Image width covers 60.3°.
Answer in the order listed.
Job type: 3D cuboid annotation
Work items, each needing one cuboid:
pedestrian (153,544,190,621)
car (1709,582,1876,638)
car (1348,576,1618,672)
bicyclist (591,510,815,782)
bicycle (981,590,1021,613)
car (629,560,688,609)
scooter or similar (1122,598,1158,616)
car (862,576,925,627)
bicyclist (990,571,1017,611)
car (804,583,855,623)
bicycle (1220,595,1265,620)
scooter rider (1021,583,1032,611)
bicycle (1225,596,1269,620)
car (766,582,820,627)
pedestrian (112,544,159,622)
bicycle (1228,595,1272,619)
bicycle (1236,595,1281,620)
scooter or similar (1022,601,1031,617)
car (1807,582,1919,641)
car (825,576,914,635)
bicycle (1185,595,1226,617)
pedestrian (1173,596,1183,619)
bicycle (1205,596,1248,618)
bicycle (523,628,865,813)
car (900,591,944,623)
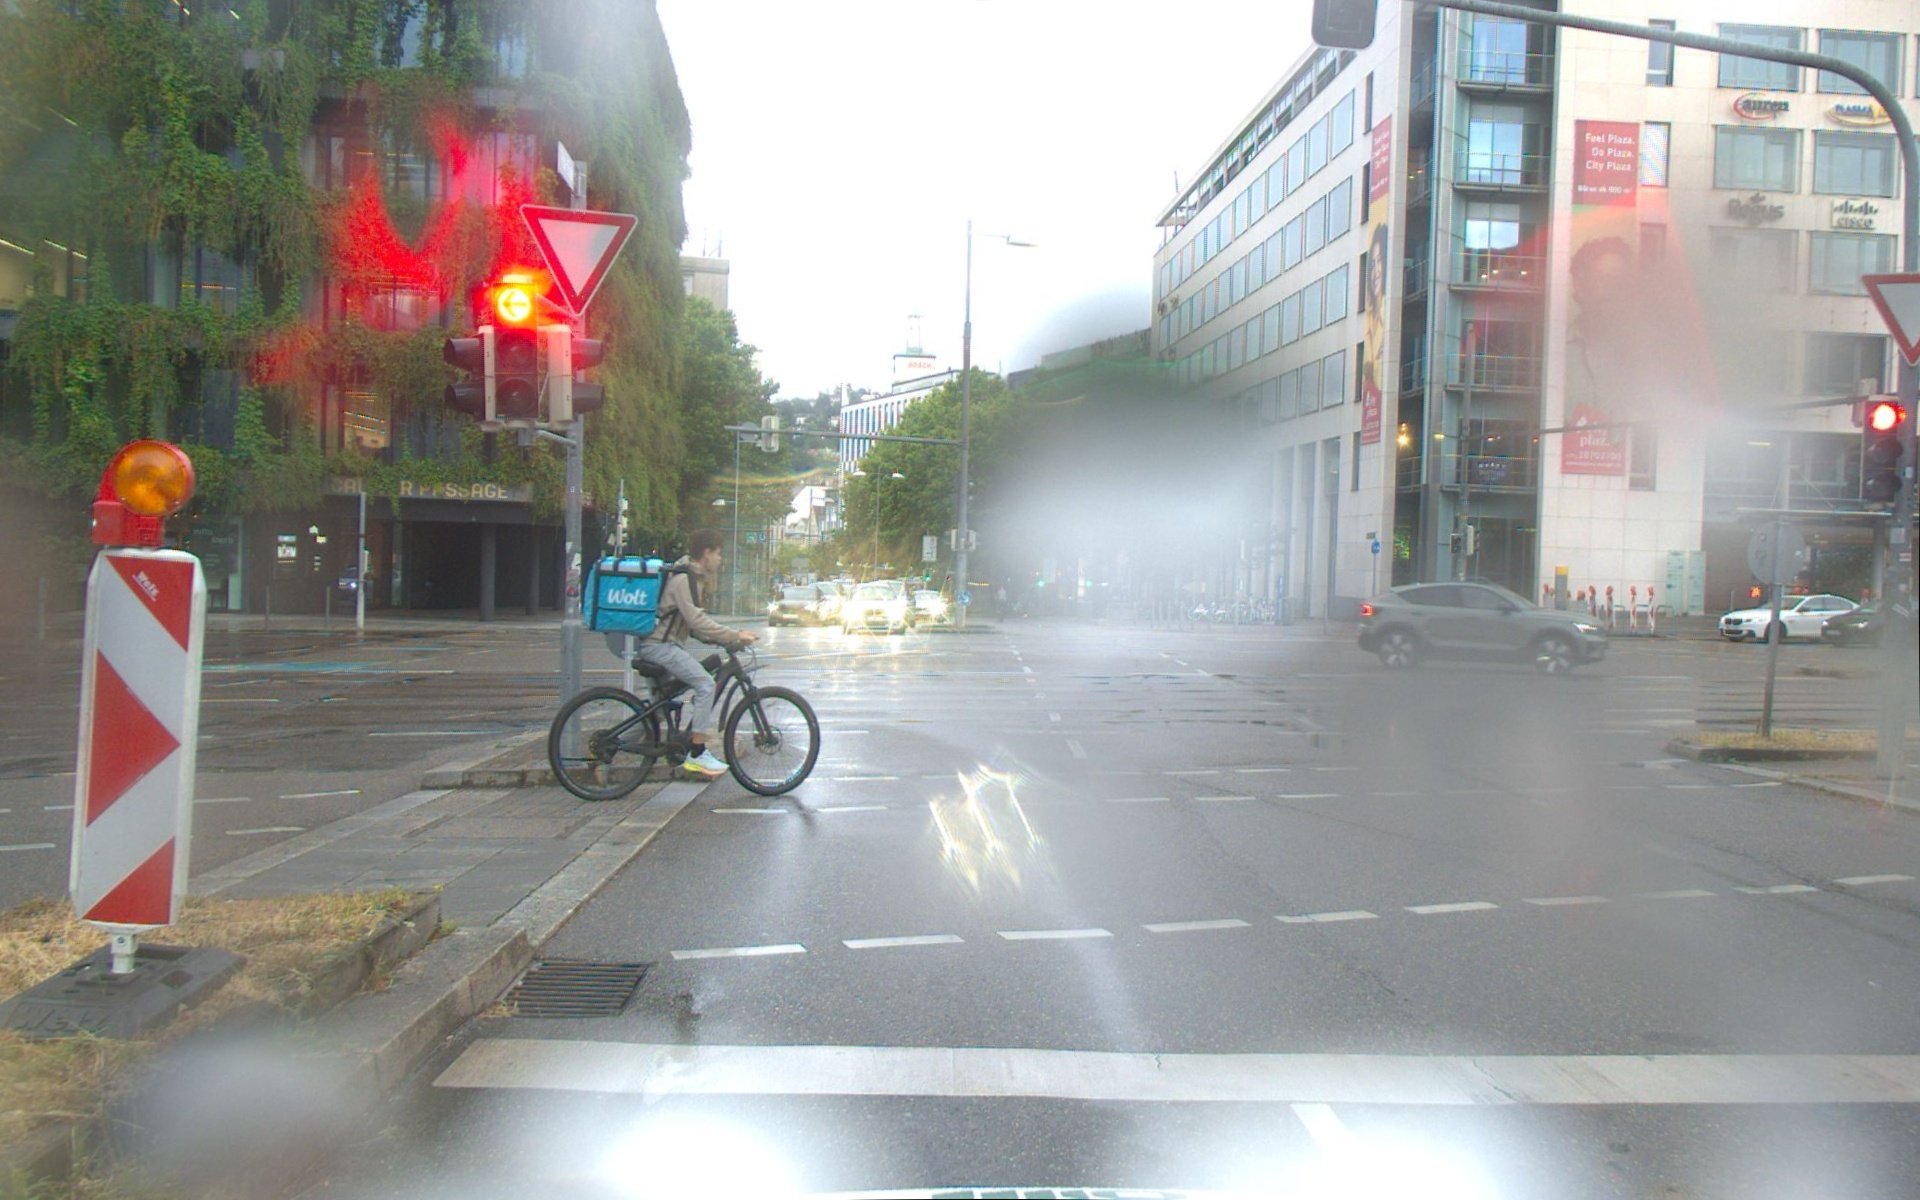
[{"bbox_3d":[-18.648,-0.414,39.119,0.731,1.788,0.969,1,0,-24],"label":"pedestrian"},{"bbox_3d":[25.413,0.301,50.523,4.378,1.626,1.992,1,0,-16],"label":"car"},{"bbox_3d":[9.453,0.392,29.907,4.450,1.577,1.999,1,1,25],"label":"car"},{"bbox_3d":[-1.749,0.289,11.228,1.281,1.733,0.840,1,0,-30],"label":"bicyclist"},{"bbox_3d":[2.080,0.088,84.323,0.787,1.136,2.222,1,0,-41],"label":"bicycle"},{"bbox_3d":[-12.540,-0.650,68.979,1.955,1.928,4.460,1,0,-5],"label":"car"},{"bbox_3d":[8.772,0.339,80.795,1.720,0.894,0.486,0,0,-20],"label":"scooter or similar"},{"bbox_3d":[-2.389,0.018,58.533,1.926,1.684,4.359,0,2,-6],"label":"car"},{"bbox_3d":[2.220,-0.474,84.167,0.787,2.009,1.097,1,0,-42],"label":"bicyclist"},{"bbox_3d":[-5.166,0.095,65.105,1.821,1.473,4.614,1,1,-7],"label":"car"},{"bbox_3d":[11.133,0.287,65.249,1.767,0.950,0.473,1,1,41],"label":"bicycle"},{"bbox_3d":[4.307,-0.225,107.189,0.746,1.805,0.796,0,0,2],"label":"scooter rider"},{"bbox_3d":[11.731,0.322,67.611,1.767,0.950,0.473,1,1,41],"label":"bicycle"},{"bbox_3d":[-5.889,0.124,58.627,1.820,1.473,4.616,1,1,-5],"label":"car"},{"bbox_3d":[-19.352,-0.391,38.837,0.923,1.788,1.163,1,0,-24],"label":"pedestrian"},{"bbox_3d":[11.706,0.286,66.866,1.767,0.950,0.473,1,1,41],"label":"bicycle"},{"bbox_3d":[11.880,0.291,65.902,1.767,0.950,0.473,1,1,41],"label":"bicycle"},{"bbox_3d":[4.290,0.565,107.180,0.544,1.024,1.824,0,0,3],"label":"scooter or similar"},{"bbox_3d":[26.766,0.320,47.199,4.373,1.626,1.994,1,0,-13],"label":"car"},{"bbox_3d":[-2.616,0.108,46.749,1.958,1.512,4.454,0,2,-10],"label":"car"},{"bbox_3d":[10.945,0.284,73.776,1.757,0.950,0.475,1,0,2],"label":"bicycle"},{"bbox_3d":[11.499,0.380,87.235,0.347,1.194,0.413,0,0,-14],"label":"pedestrian"},{"bbox_3d":[11.590,0.299,71.937,1.757,0.950,0.475,1,0,2],"label":"bicycle"},{"bbox_3d":[-1.780,0.764,11.167,2.122,1.122,0.840,1,0,-30],"label":"bicycle"},{"bbox_3d":[-1.862,0.301,80.565,1.954,1.469,4.552,1,1,-4],"label":"car"}]
